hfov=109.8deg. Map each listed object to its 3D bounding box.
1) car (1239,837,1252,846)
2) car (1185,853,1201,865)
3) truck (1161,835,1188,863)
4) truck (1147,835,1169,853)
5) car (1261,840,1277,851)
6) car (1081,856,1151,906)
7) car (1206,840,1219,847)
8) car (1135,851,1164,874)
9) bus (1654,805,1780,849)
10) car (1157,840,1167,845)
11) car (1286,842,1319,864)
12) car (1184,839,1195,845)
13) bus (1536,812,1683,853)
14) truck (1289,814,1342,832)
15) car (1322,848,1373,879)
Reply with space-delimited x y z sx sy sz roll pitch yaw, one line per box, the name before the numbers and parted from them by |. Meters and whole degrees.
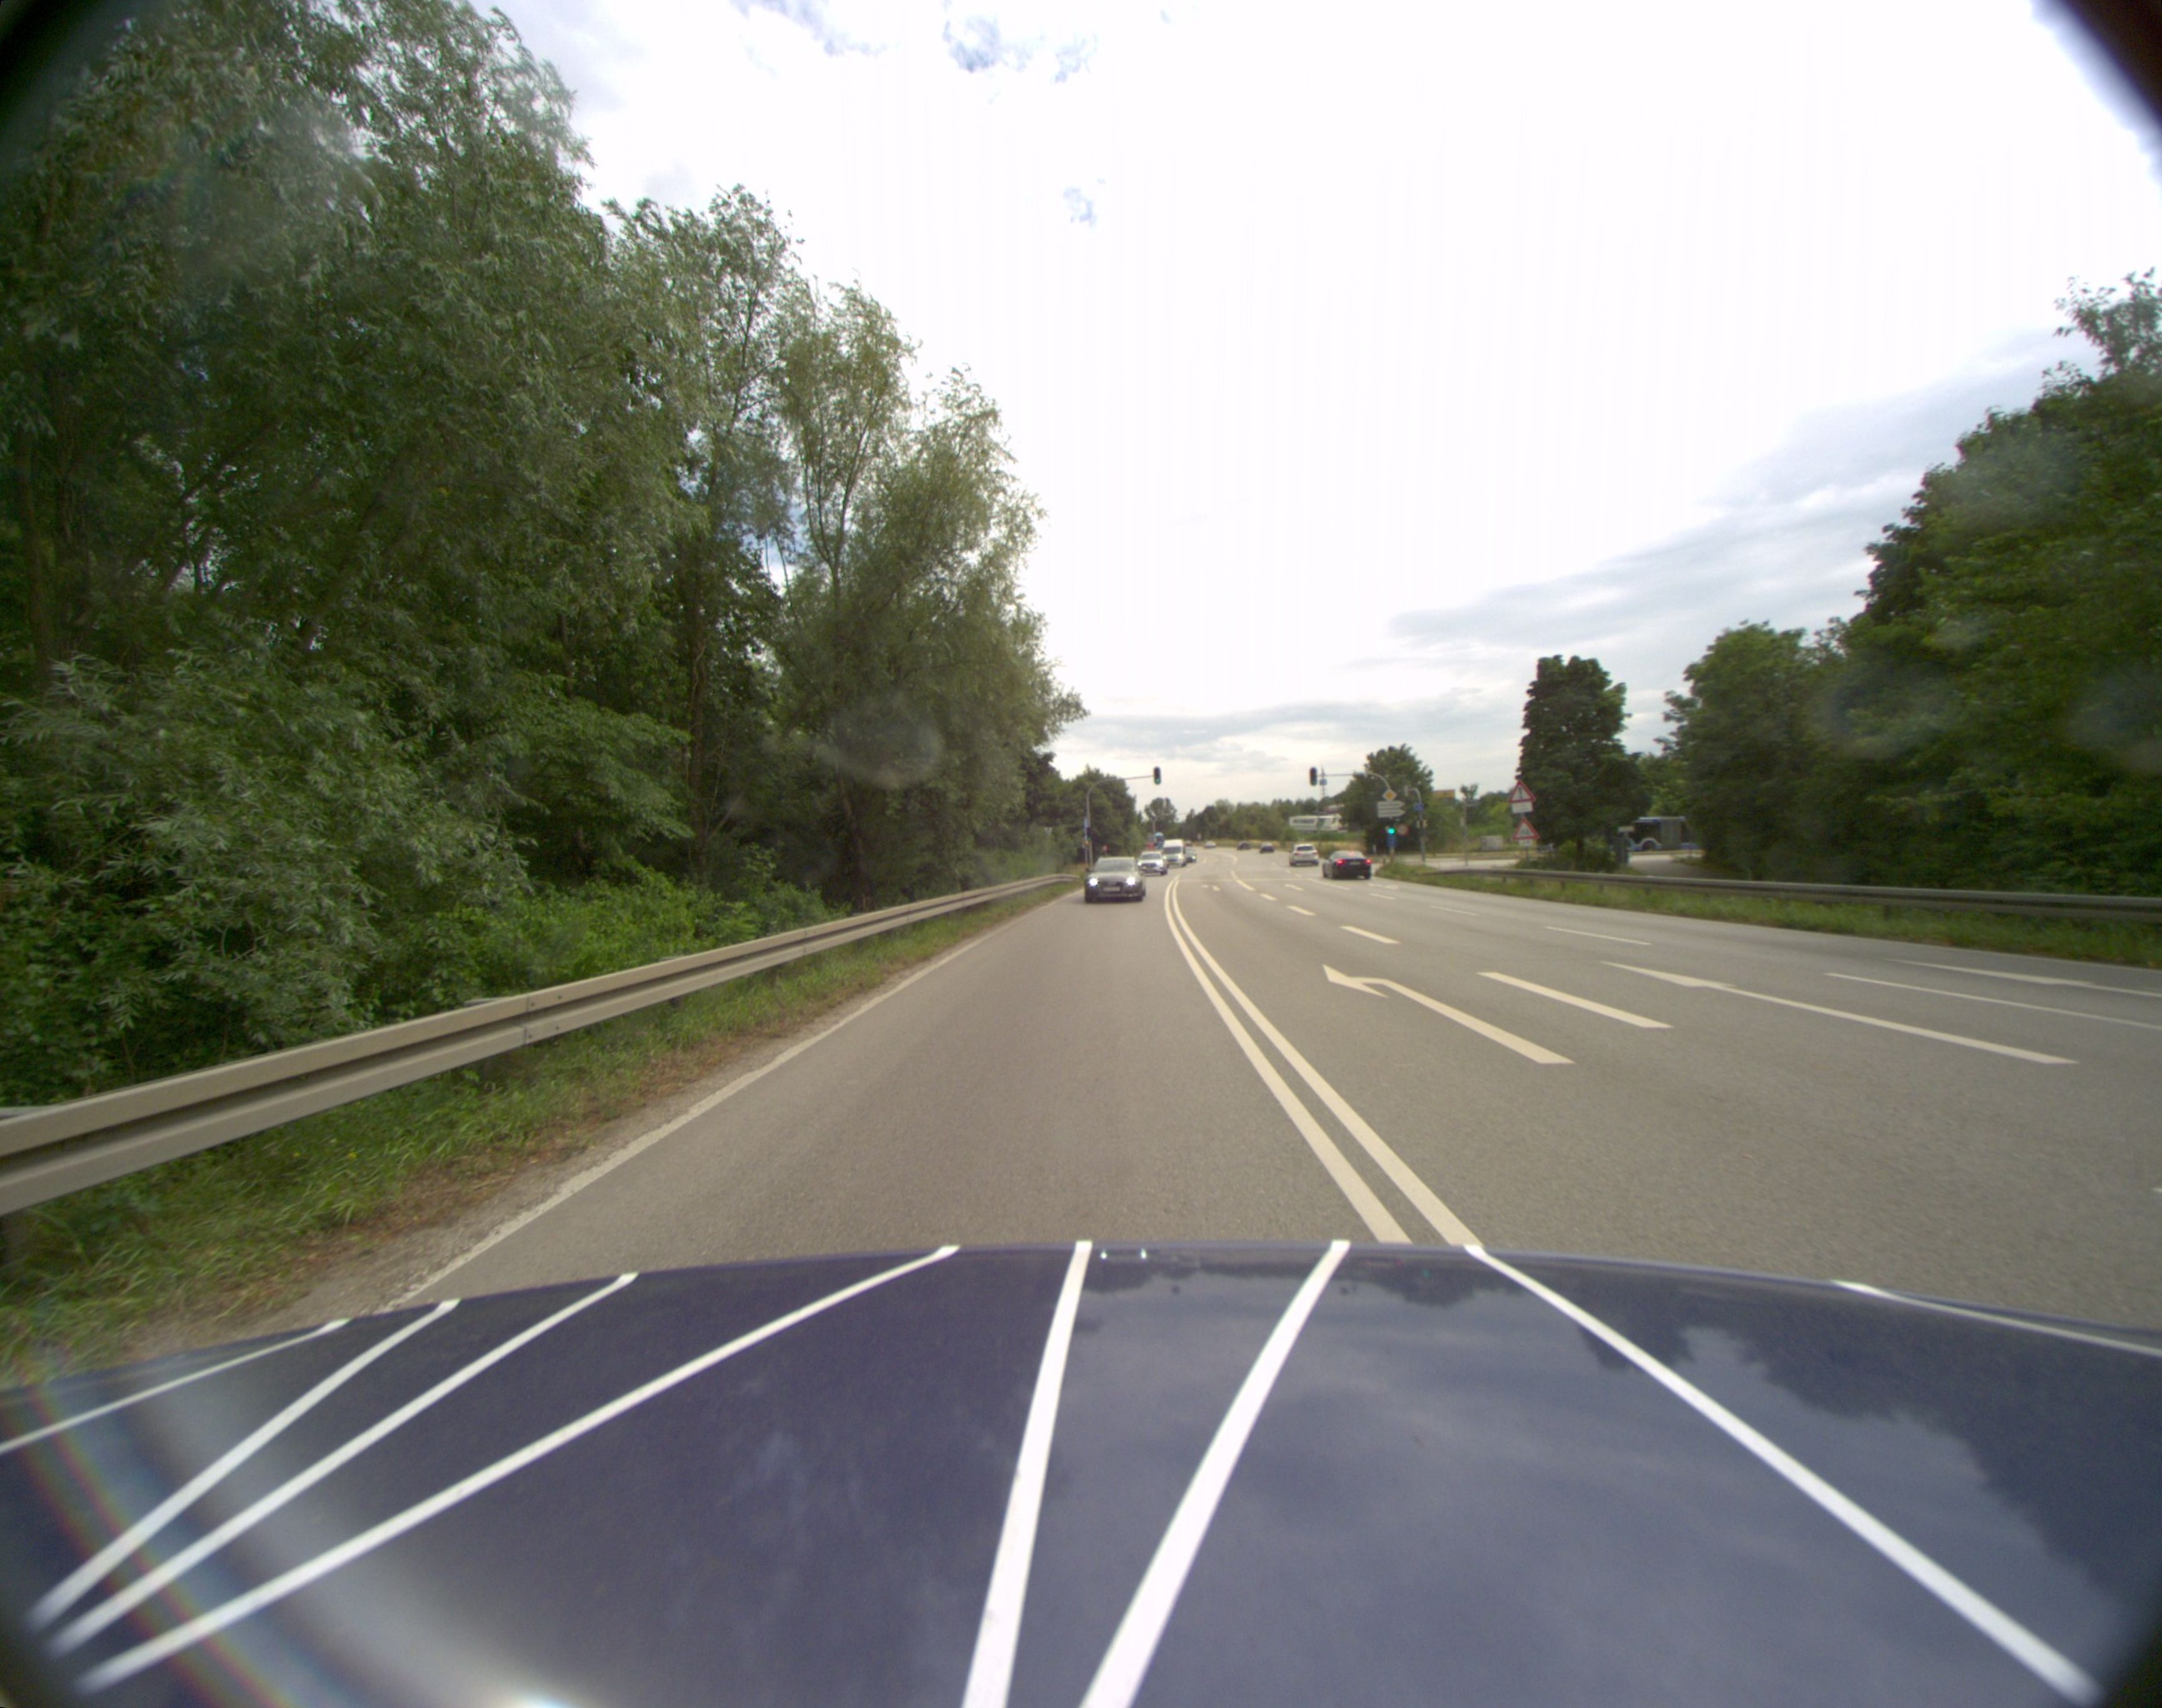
car | 29.640 -2.252 136.817 1.744 1.377 4.000 -4 1 4
car | 13.108 0.573 88.672 1.743 1.317 4.003 0 0 11
truck | 9.255 -0.484 74.757 2.377 2.578 6.002 -1 1 9
truck | 18.922 -2.406 186.548 3.029 4.325 9.563 -2 1 -8
car | 26.926 -1.226 109.057 1.743 1.477 4.202 -2 1 7
car | 1.288 0.840 25.925 1.964 1.446 4.799 -2 1 7
car | 28.327 -2.237 164.305 1.745 1.477 3.998 -4 1 -5
car | 4.716 0.582 51.973 1.825 1.489 4.226 0 0 6
bus | 52.987 -2.232 63.435 7.819 3.328 3.121 -2 1 1
car | 22.421 -3.116 209.374 1.745 1.377 3.996 -5 1 -8
car | 17.405 -0.107 59.839 1.861 1.633 4.740 -1 0 9
car | 26.278 -2.968 184.638 1.745 1.377 3.997 -4 1 -5
bus | 44.032 -1.774 63.524 10.065 3.029 3.121 -2 1 1
truck | 57.566 -7.727 187.230 3.367 4.303 14.172 -3 4 -28
car | 13.897 0.465 39.804 1.720 1.489 4.551 -1 0 9
